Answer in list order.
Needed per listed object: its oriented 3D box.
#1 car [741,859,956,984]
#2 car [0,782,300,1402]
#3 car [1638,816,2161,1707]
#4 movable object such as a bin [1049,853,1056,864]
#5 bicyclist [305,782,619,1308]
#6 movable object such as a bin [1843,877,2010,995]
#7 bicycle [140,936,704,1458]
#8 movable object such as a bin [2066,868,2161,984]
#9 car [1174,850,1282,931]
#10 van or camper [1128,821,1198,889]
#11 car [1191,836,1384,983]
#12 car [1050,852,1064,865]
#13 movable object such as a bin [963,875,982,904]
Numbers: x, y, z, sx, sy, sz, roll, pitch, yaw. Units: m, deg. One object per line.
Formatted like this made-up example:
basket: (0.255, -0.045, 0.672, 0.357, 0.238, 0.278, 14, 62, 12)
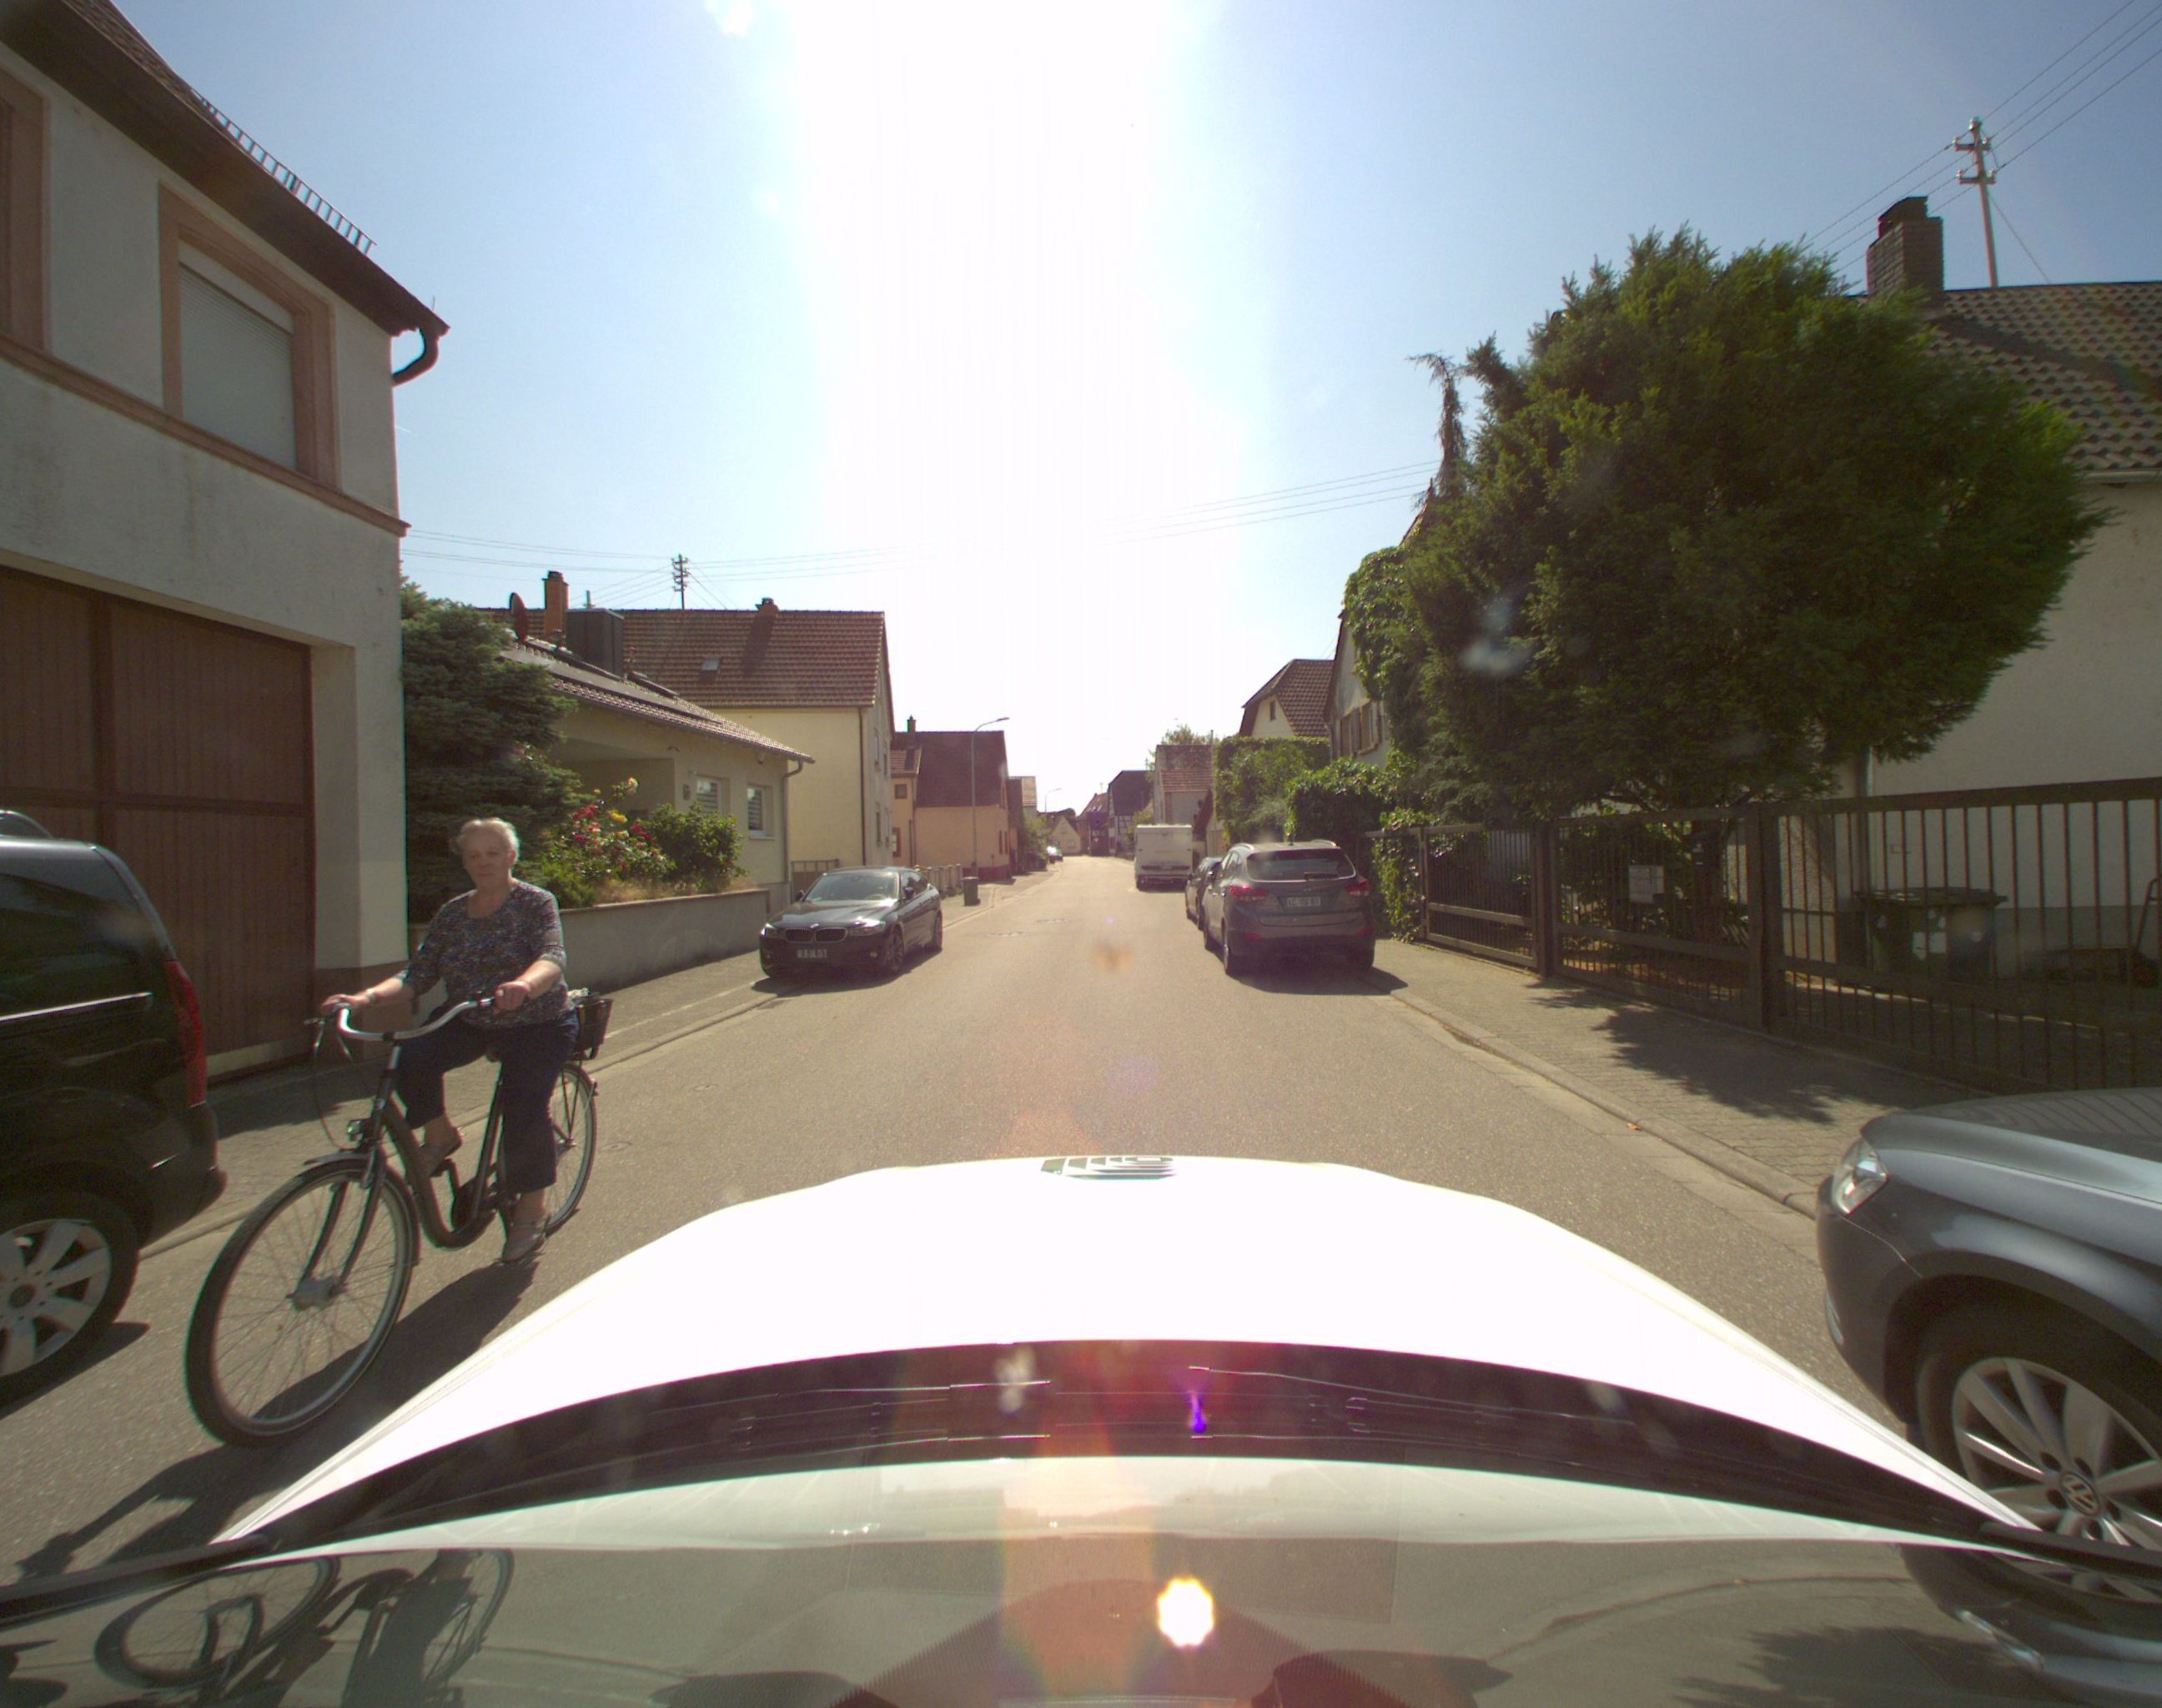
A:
car: (-3.389, 0.889, 12.945, 1.837, 1.526, 4.767, -2, 0, 2)
car: (-4.190, 0.736, 1.146, 1.827, 1.837, 4.355, -2, 0, 2)
car: (2.700, 0.660, 0.318, 1.813, 1.508, 4.581, -2, 0, 0)
movable object such as a bin: (-3.034, 0.464, 86.455, 0.686, 1.185, 0.714, -3, 0, 1)
bicyclist: (-2.275, 0.641, 3.079, 0.702, 1.771, 0.624, 0, 0, -3)
movable object such as a bin: (7.550, 0.716, 7.296, 0.879, 0.949, 0.569, -3, 0, -1)
bicycle: (-2.202, 1.007, 3.142, 0.588, 1.148, 1.947, -3, 0, -2)
movable object such as a bin: (9.365, 0.623, 7.237, 0.512, 0.965, 0.566, -2, 0, -1)
car: (3.055, 0.695, 17.659, 1.705, 1.464, 4.068, -3, 0, 2)
van or camper: (3.469, 0.041, 35.419, 2.513, 2.697, 4.555, -2, 0, 0)
car: (2.684, 0.621, 11.595, 1.786, 1.631, 4.364, -2, 0, 3)
car: (-2.904, 0.550, 99.695, 1.506, 1.436, 3.512, -3, 0, 1)
movable object such as a bin: (-3.720, 1.204, 27.887, 0.537, 0.949, 0.553, -1, 0, 1)
